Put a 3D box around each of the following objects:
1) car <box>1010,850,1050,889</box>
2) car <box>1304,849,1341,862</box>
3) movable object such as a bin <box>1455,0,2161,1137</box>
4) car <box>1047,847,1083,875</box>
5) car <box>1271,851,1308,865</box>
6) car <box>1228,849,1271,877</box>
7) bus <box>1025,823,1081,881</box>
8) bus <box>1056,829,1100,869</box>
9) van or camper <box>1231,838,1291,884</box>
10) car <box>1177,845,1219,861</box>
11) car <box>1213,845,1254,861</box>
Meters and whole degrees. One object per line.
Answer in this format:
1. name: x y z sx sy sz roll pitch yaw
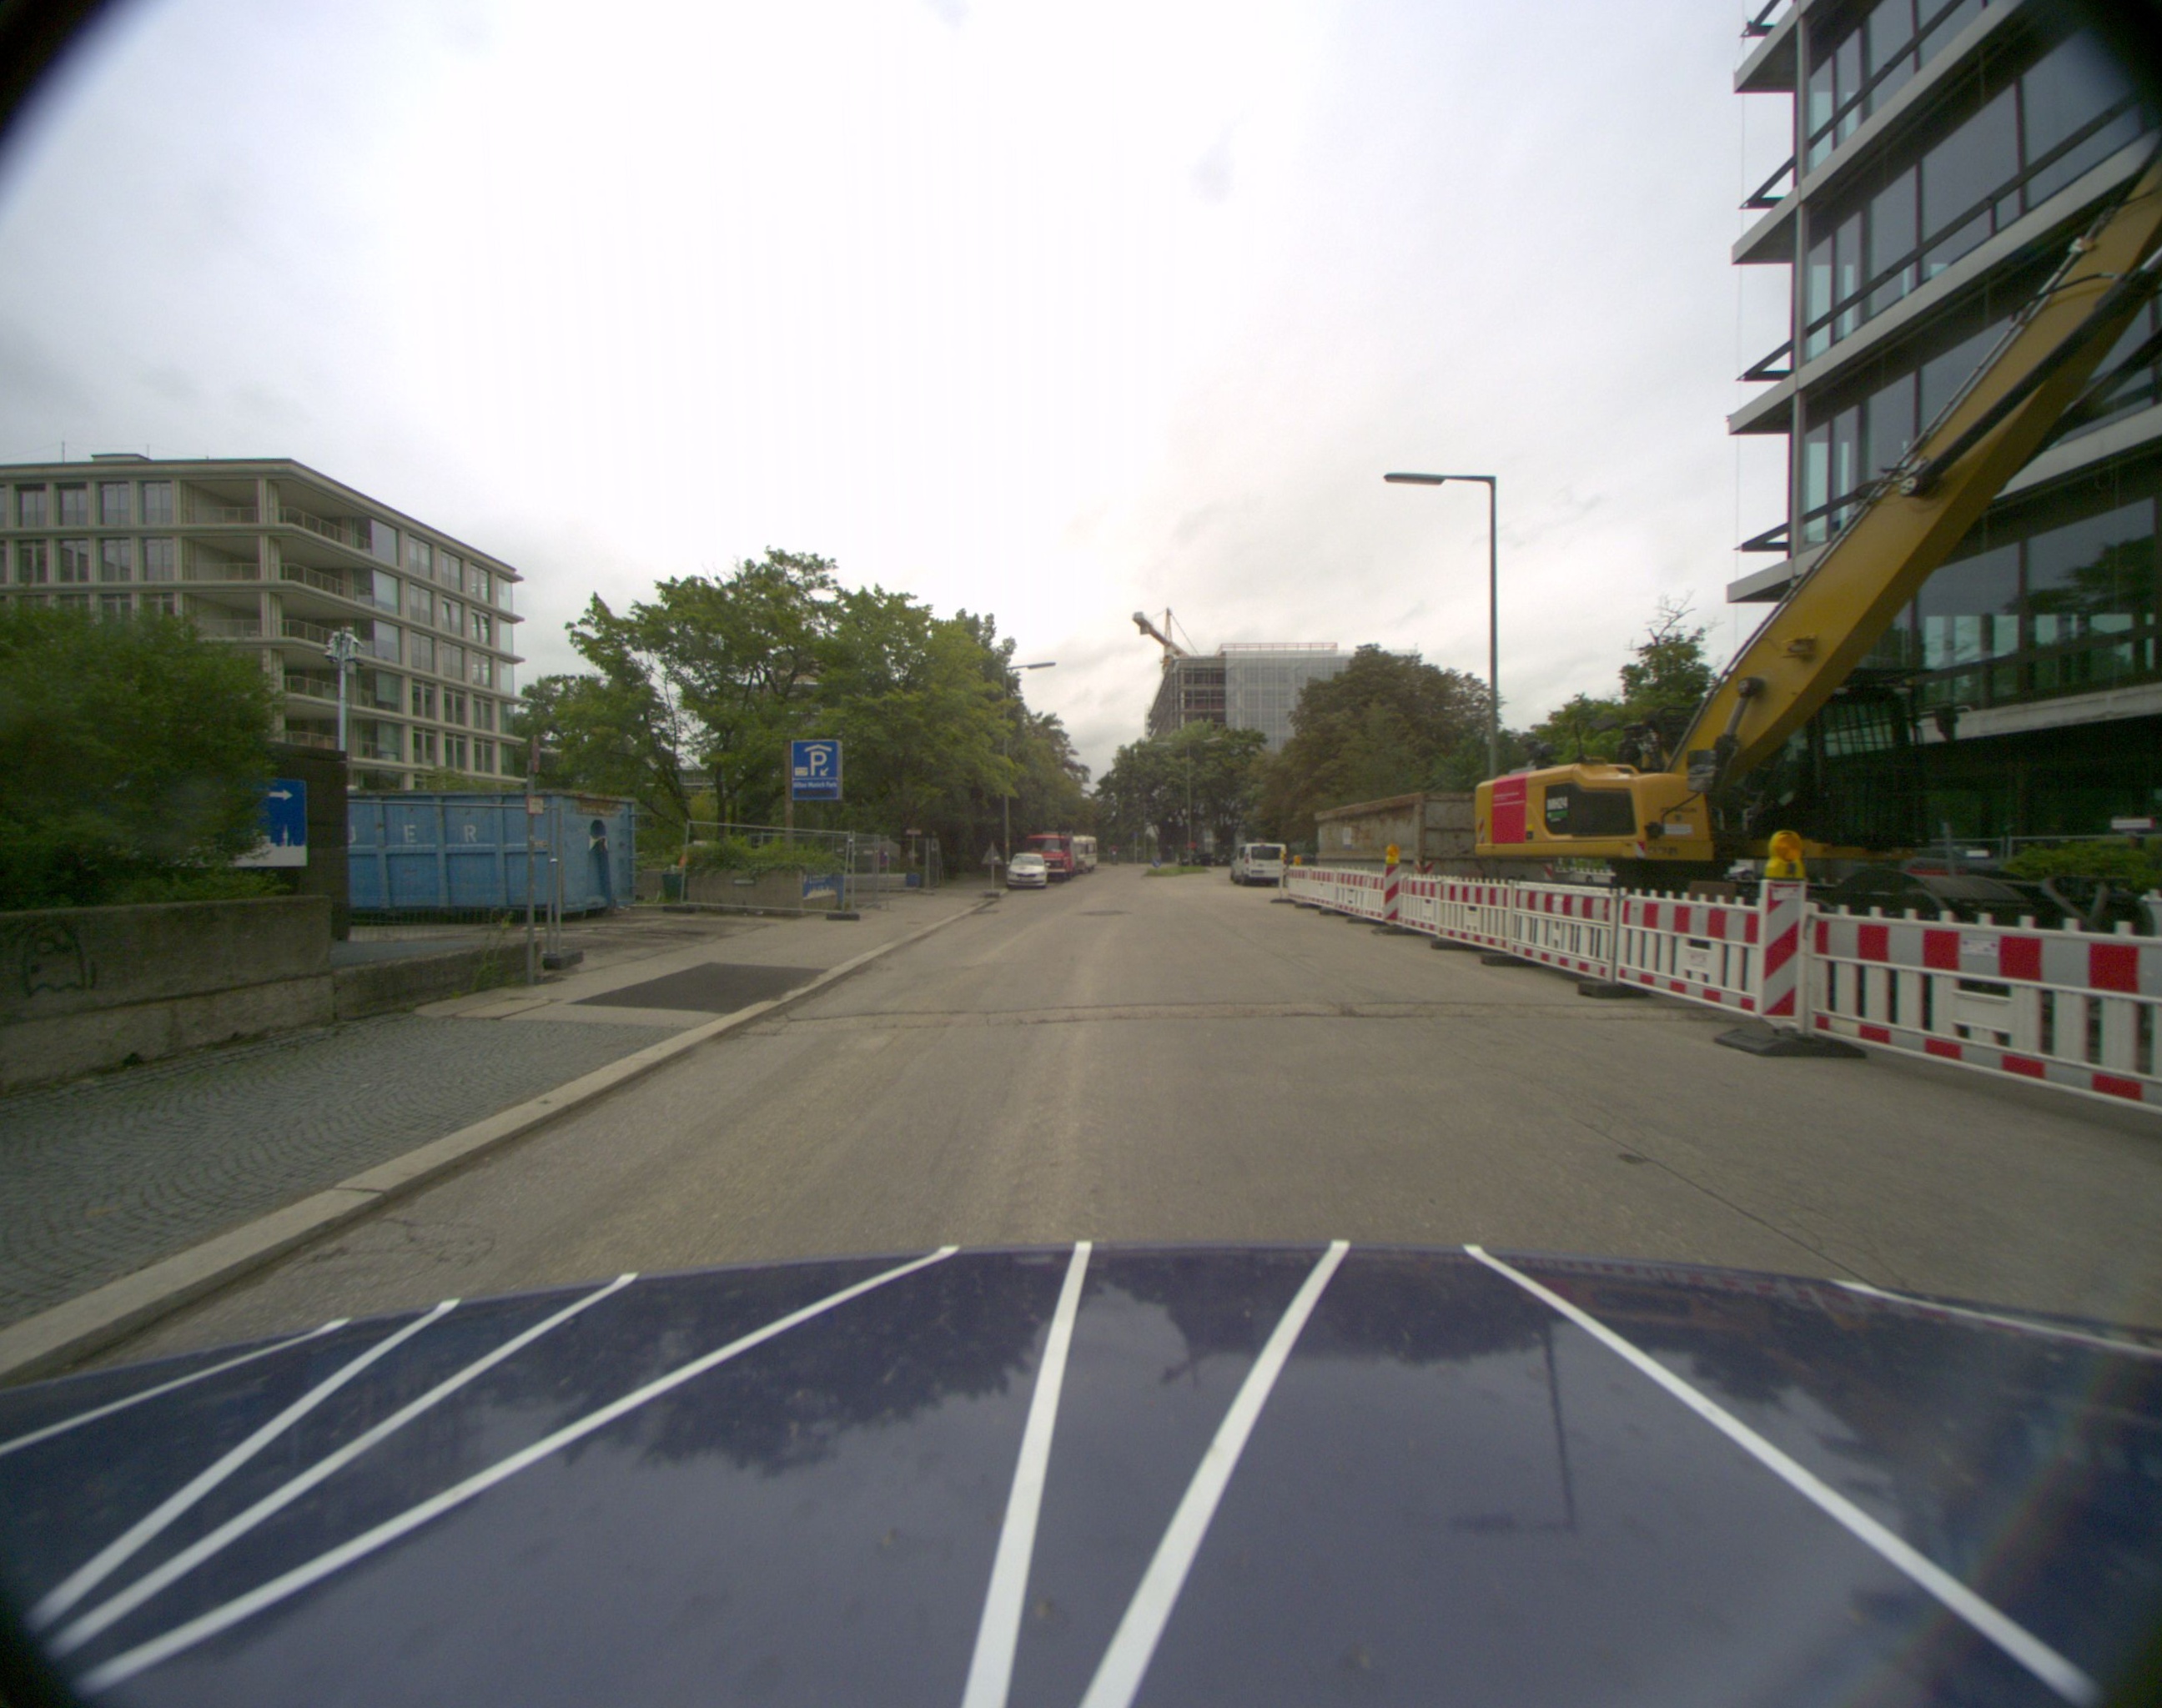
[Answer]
1. car: -2.195 0.633 33.418 1.536 1.484 4.059 -1 2 -1
2. car: 27.273 0.154 85.864 3.722 1.379 1.518 0 2 -14
3. movable object such as a bin: 7.578 -1.712 6.630 2.911 6.527 11.781 -1 1 1
4. car: -0.940 0.406 46.641 1.782 1.630 4.398 0 0 4
5. car: 23.083 0.425 83.990 3.724 1.379 1.517 -1 2 -21
6. car: 9.576 0.479 43.397 1.997 1.450 4.121 1 1 8
7. bus: -1.360 -0.143 40.123 2.077 2.789 6.274 0 1 6
8. bus: -0.118 -0.376 54.027 2.076 2.714 5.870 0 1 10
9. van or camper: 8.554 0.278 36.577 1.993 2.022 5.588 1 0 5
10. car: 12.007 -0.129 78.156 3.890 1.564 1.786 -1 2 -21
11. car: 16.083 -0.165 80.144 3.892 1.564 1.785 -1 3 -26
